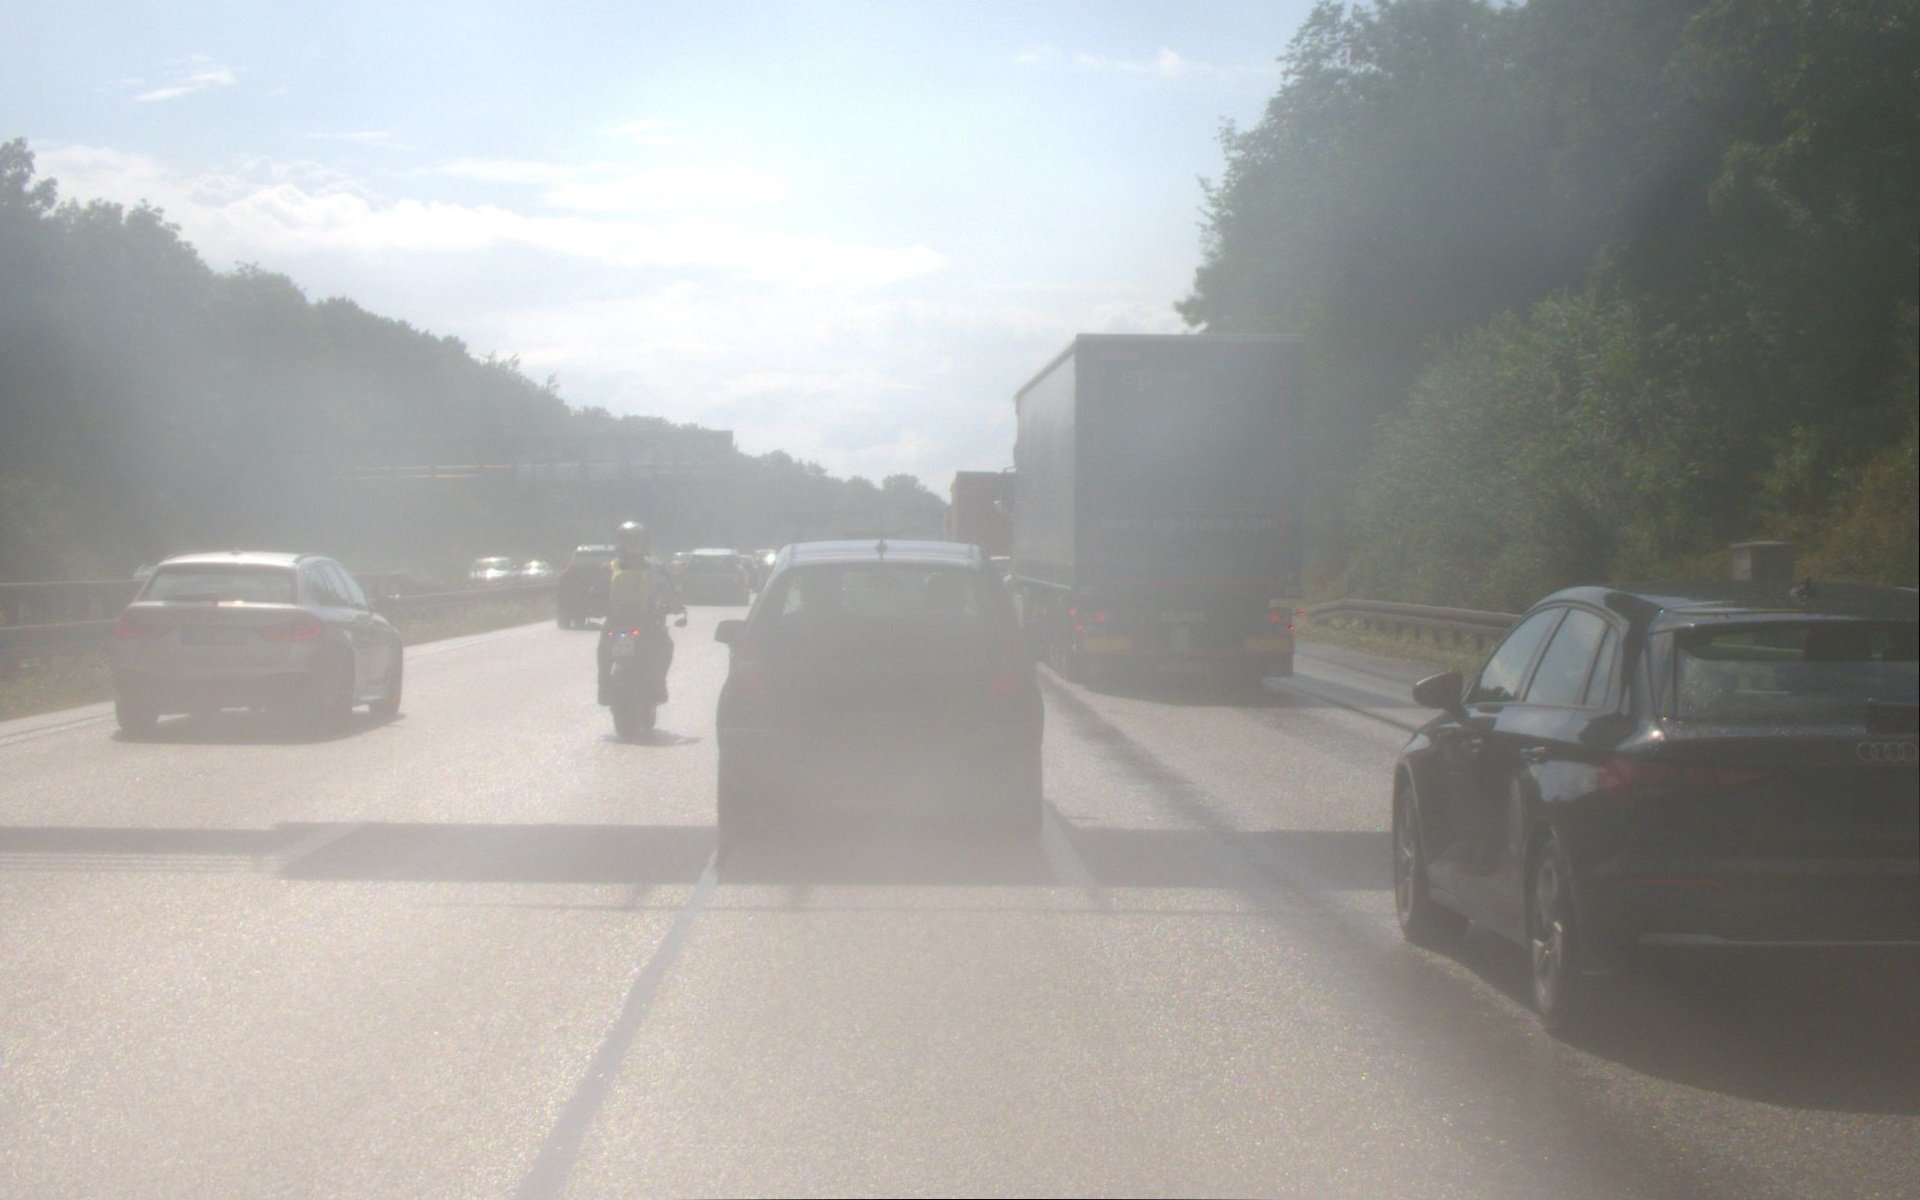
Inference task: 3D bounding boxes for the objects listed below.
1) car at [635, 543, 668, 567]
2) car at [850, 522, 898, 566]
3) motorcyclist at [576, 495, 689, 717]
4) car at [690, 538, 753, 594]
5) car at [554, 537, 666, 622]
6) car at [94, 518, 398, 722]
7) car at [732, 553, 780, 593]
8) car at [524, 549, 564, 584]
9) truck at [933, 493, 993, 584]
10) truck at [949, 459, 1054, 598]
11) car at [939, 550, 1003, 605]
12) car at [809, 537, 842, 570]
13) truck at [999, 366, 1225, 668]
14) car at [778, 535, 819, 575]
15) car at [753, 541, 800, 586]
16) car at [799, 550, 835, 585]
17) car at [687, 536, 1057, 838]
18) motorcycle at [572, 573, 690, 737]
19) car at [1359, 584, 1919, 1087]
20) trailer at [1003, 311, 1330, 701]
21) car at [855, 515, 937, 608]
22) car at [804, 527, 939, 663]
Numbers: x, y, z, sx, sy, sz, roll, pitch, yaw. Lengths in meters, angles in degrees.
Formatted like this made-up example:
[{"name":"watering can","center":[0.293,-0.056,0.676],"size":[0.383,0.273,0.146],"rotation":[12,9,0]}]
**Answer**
[{"name":"car","center":[-21.048,-3.072,234.709],"size":[1.921,1.575,4.000],"rotation":[-1,1,-2]},{"name":"car","center":[-2.966,-1.942,119.207],"size":[1.631,1.485,3.437],"rotation":[0,1,-1]},{"name":"motorcyclist","center":[-2.660,0.042,28.027],"size":[0.821,1.754,1.390],"rotation":[1,0,-2]},{"name":"car","center":[-6.888,-0.986,99.531],"size":[1.675,1.591,3.437],"rotation":[0,1,-1]},{"name":"car","center":[-6.923,-0.430,68.286],"size":[1.893,1.622,4.195],"rotation":[0,1,-1]},{"name":"car","center":[-5.948,0.126,29.099],"size":[1.758,1.589,4.331],"rotation":[0,1,-1]},{"name":"car","center":[-7.707,-1.035,130.263],"size":[1.675,1.485,3.437],"rotation":[0,1,-1]},{"name":"car","center":[-24.829,-1.998,205.203],"size":[1.993,2.007,4.001],"rotation":[1,1,-2]},{"name":"truck","center":[0.098,-3.198,182.094],"size":[2.882,4.671,12.659],"rotation":[1,0,-1]},{"name":"truck","center":[1.302,-2.324,113.646],"size":[3.202,4.389,9.433],"rotation":[0,1,-1]},{"name":"car","center":[0.277,-0.637,95.183],"size":[1.675,1.485,3.437],"rotation":[0,1,-1]},{"name":"car","center":[-8.548,-2.951,218.474],"size":[1.993,2.007,4.000],"rotation":[1,0,-1]},{"name":"truck","center":[2.223,-1.258,52.429],"size":[3.052,4.310,5.887],"rotation":[1,1,-1]},{"name":"car","center":[-8.352,-2.314,177.957],"size":[1.993,2.007,4.000],"rotation":[1,0,-1]},{"name":"car","center":[-8.323,-1.662,155.922],"size":[1.993,2.007,4.000],"rotation":[1,0,-1]},{"name":"car","center":[-8.315,-1.891,199.827],"size":[1.993,2.007,4.000],"rotation":[1,0,-1]},{"name":"car","center":[-0.509,0.423,20.025],"size":[1.915,1.560,4.314],"rotation":[0,1,-1]},{"name":"motorcycle","center":[-2.663,0.423,28.021],"size":[0.819,1.258,2.118],"rotation":[1,1,-2]},{"name":"car","center":[2.577,0.665,11.995],"size":[1.755,1.391,4.369],"rotation":[0,1,-1]},{"name":"trailer","center":[2.373,-1.136,45.138],"size":[3.088,4.298,14.106],"rotation":[0,1,-1]},{"name":"car","center":[-1.376,-0.829,73.274],"size":[1.675,1.929,3.774],"rotation":[0,1,-1]},{"name":"car","center":[-1.384,-0.096,53.395],"size":[1.993,2.007,4.000],"rotation":[1,0,-2]}]
